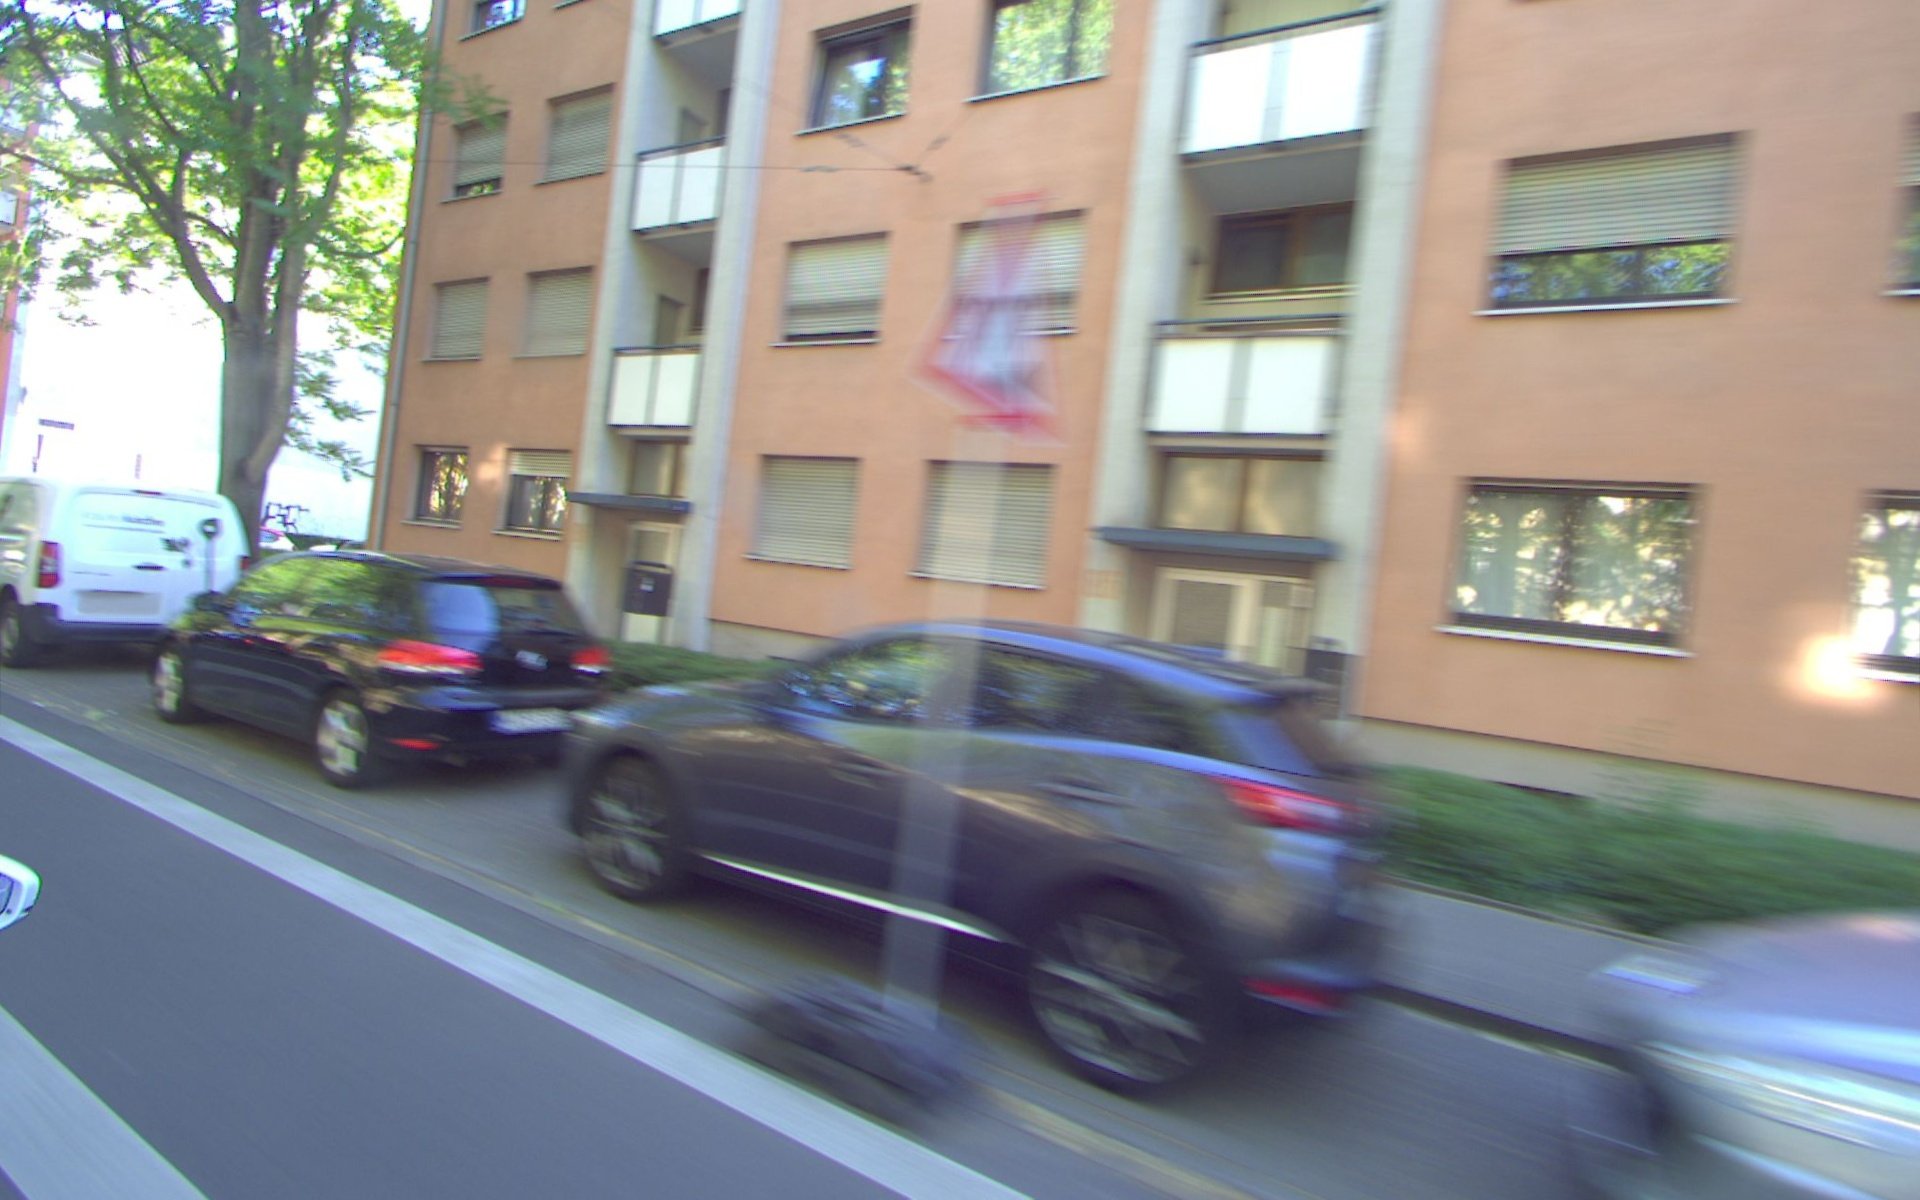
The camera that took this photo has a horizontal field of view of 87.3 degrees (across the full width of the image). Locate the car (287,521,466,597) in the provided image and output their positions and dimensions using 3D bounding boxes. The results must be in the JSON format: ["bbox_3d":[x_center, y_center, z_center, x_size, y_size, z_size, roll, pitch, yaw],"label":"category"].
[{"bbox_3d":[-19.611,-1.337,34.048,1.972,1.815,4.729,10,1,31],"label":"car"}]

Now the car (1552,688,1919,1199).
[{"bbox_3d":[3.736,1.279,2.002,4.249,1.542,1.789,7,1,31],"label":"car"}]

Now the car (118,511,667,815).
[{"bbox_3d":[-4.324,0.324,7.489,4.099,1.491,1.707,7,0,32],"label":"car"}]

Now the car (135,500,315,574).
[{"bbox_3d":[-21.762,-1.831,29.943,1.535,1.500,3.920,10,1,31],"label":"car"}]

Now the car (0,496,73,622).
[{"bbox_3d":[-13.523,-0.720,13.181,3.934,1.491,1.707,7,0,32],"label":"car"}]

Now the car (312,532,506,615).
[{"bbox_3d":[-14.202,-0.658,26.063,3.926,1.559,1.727,7,0,0],"label":"car"}]

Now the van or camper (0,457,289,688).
[{"bbox_3d":[-9.113,-0.382,10.345,4.750,1.887,1.757,7,0,32],"label":"van or camper"}]

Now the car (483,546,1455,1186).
[{"bbox_3d":[-0.148,0.776,4.845,4.265,1.593,1.769,7,1,32],"label":"car"}]
